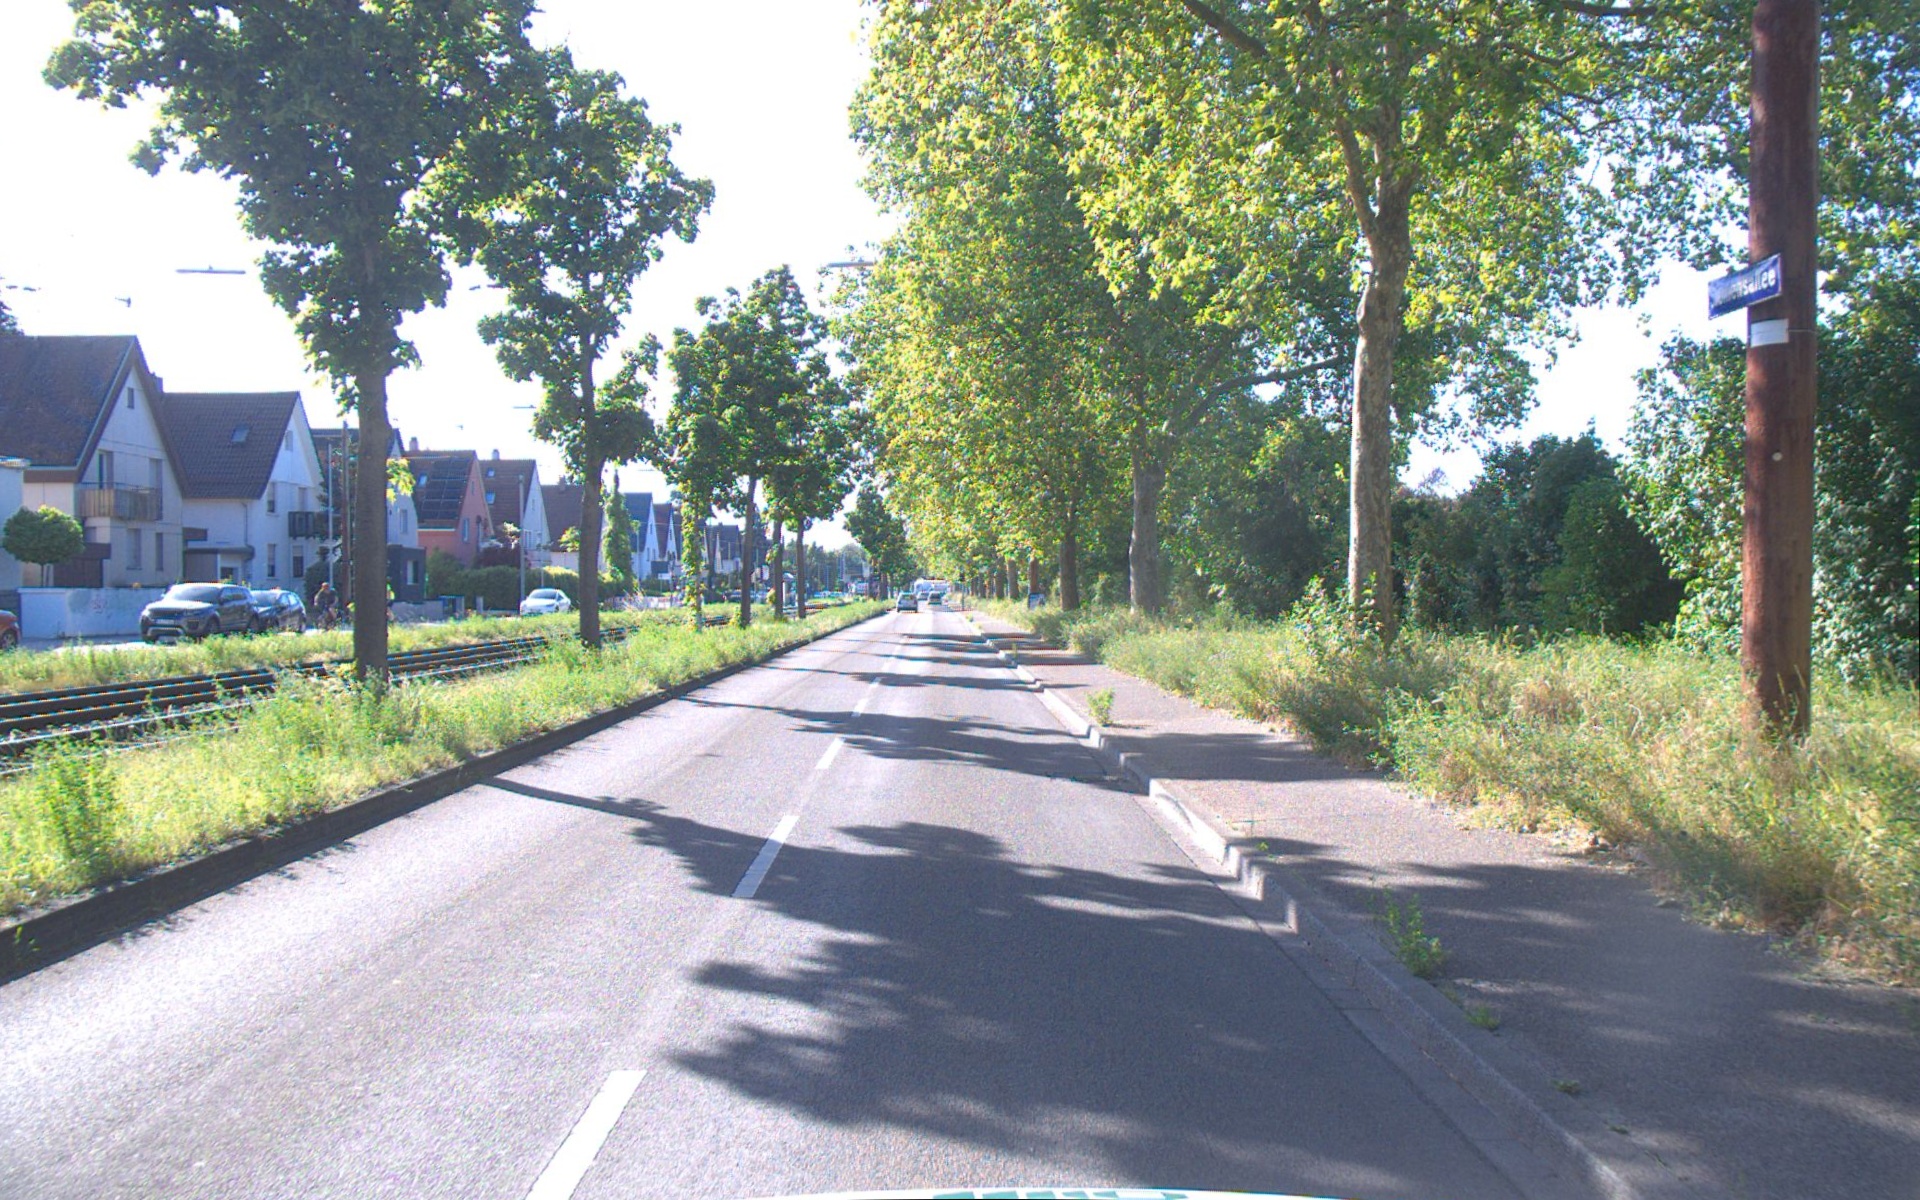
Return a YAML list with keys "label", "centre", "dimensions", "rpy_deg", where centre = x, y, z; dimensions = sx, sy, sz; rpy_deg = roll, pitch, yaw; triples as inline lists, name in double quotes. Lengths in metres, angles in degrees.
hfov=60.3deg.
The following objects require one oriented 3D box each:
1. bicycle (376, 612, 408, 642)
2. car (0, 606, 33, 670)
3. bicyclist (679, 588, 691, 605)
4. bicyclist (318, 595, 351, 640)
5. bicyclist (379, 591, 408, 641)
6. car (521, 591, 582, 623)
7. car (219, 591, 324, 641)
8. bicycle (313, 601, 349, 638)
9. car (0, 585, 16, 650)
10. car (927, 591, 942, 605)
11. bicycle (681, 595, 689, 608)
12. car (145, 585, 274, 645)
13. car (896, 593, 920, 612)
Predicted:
- label: "bicycle"
  centre: [-19.263, 0.911, 56.121]
  dimensions: [0.390, 0.944, 2.096]
  rpy_deg: [0, 0, 0]
- label: "car"
  centre: [-21.300, 0.810, 34.640]
  dimensions: [1.463, 1.349, 4.000]
  rpy_deg: [1, 0, 0]
- label: "bicyclist"
  centre: [-20.520, -0.248, 123.377]
  dimensions: [0.783, 1.300, 0.736]
  rpy_deg: [1, 0, -5]
- label: "bicyclist"
  centre: [-19.267, 0.538, 50.936]
  dimensions: [0.674, 1.360, 0.881]
  rpy_deg: [0, 0, -1]
- label: "bicyclist"
  centre: [-19.337, 0.546, 56.459]
  dimensions: [0.674, 1.681, 0.881]
  rpy_deg: [0, 0, -1]
- label: "car"
  centre: [-22.310, 0.379, 90.411]
  dimensions: [1.952, 1.627, 4.733]
  rpy_deg: [1, 0, 2]
- label: "car"
  centre: [-21.301, 0.485, 51.322]
  dimensions: [1.581, 1.476, 3.988]
  rpy_deg: [1, 0, -1]
- label: "bicycle"
  centre: [-19.271, 0.600, 50.722]
  dimensions: [0.390, 1.088, 1.879]
  rpy_deg: [0, 0, 0]
- label: "car"
  centre: [-27.084, 0.428, 42.964]
  dimensions: [3.909, 1.699, 1.998]
  rpy_deg: [1, 0, -5]
- label: "car"
  centre: [-2.937, -0.194, 192.375]
  dimensions: [1.725, 1.539, 3.276]
  rpy_deg: [1, 0, 0]
- label: "bicycle"
  centre: [-20.468, 0.100, 123.205]
  dimensions: [0.432, 0.917, 2.059]
  rpy_deg: [1, 0, -5]
- label: "car"
  centre: [-21.276, 0.405, 47.058]
  dimensions: [1.610, 1.595, 4.386]
  rpy_deg: [1, 0, 0]
- label: "car"
  centre: [-3.929, 0.208, 125.205]
  dimensions: [1.703, 1.425, 3.276]
  rpy_deg: [1, 0, -1]
